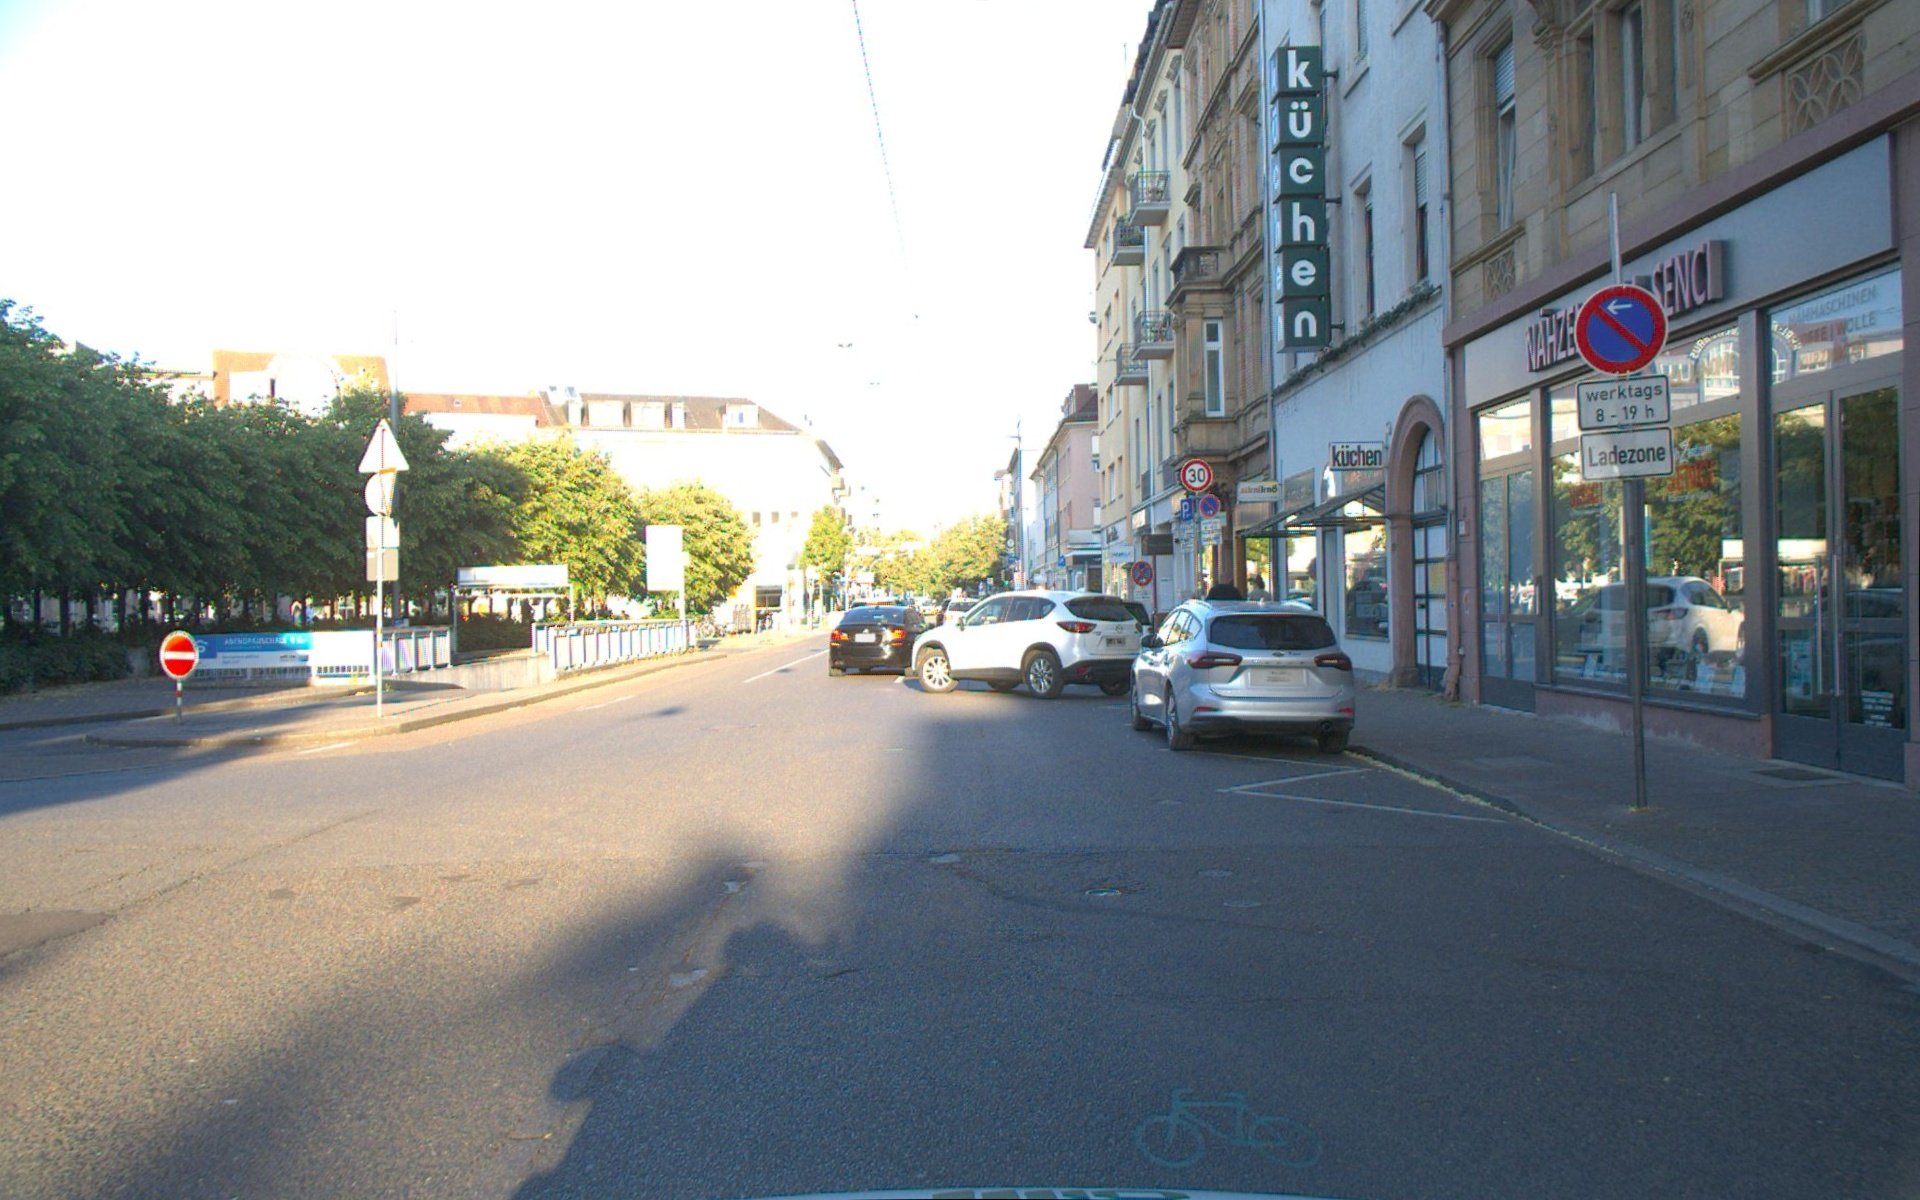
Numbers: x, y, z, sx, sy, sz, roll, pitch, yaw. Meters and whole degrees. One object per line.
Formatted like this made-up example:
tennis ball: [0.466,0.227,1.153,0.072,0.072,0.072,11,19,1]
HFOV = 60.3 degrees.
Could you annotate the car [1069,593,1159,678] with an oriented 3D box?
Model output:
car: [2.935,0.663,32.062,1.500,1.563,3.283,0,0,1]

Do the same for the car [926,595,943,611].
car: [-2.736,0.309,173.731,1.743,1.574,3.999,-1,0,-1]

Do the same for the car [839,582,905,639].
car: [-2.678,0.309,51.195,1.858,1.678,4.103,-1,0,-1]

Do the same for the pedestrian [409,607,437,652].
pedestrian: [-19.649,1.073,60.527,0.663,1.623,0.677,-1,0,19]

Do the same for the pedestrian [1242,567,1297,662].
pedestrian: [5.882,0.273,31.454,0.757,1.741,1.042,-3,0,-1]

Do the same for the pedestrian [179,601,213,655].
pedestrian: [-23.330,0.853,50.499,0.774,1.623,0.568,-1,0,19]

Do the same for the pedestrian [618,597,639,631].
pedestrian: [-15.547,0.657,77.665,0.774,1.623,0.568,-1,0,19]

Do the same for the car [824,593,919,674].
car: [-1.828,0.667,35.230,1.858,1.609,3.999,0,0,-1]

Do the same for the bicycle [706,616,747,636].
bicycle: [-10.734,1.192,76.094,1.789,0.868,0.483,2,0,-4]

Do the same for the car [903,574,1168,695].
car: [1.153,0.538,27.197,1.979,1.792,4.406,-2,0,-37]

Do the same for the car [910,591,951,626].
car: [-1.397,0.395,79.070,1.858,1.609,3.851,2,0,-1]

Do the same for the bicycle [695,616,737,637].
bicycle: [-10.942,1.191,74.289,1.789,0.868,0.483,2,0,-4]

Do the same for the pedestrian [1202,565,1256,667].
pedestrian: [5.090,0.295,31.305,0.757,1.859,1.010,-3,0,-1]

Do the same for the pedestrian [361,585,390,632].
pedestrian: [-20.292,0.293,57.398,0.663,1.623,0.677,-1,0,19]

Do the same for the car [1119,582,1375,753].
car: [2.889,0.643,17.690,1.723,1.563,4.819,1,0,-2]

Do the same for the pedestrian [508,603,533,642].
pedestrian: [-18.124,0.931,68.230,0.774,1.623,0.568,-1,0,19]

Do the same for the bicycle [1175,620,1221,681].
bicycle: [4.358,0.910,30.353,0.494,1.034,1.947,-2,0,-1]

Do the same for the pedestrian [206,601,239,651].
pedestrian: [-23.876,0.834,53.539,0.774,1.623,0.568,-1,0,19]

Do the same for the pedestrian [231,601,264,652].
pedestrian: [-22.936,0.856,53.233,0.774,1.623,0.568,-1,0,19]

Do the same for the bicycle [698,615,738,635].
bicycle: [-11.270,1.177,77.001,1.789,0.868,0.483,2,0,-4]

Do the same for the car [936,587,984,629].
car: [-0.026,0.318,65.775,1.858,1.609,3.999,0,0,-1]
